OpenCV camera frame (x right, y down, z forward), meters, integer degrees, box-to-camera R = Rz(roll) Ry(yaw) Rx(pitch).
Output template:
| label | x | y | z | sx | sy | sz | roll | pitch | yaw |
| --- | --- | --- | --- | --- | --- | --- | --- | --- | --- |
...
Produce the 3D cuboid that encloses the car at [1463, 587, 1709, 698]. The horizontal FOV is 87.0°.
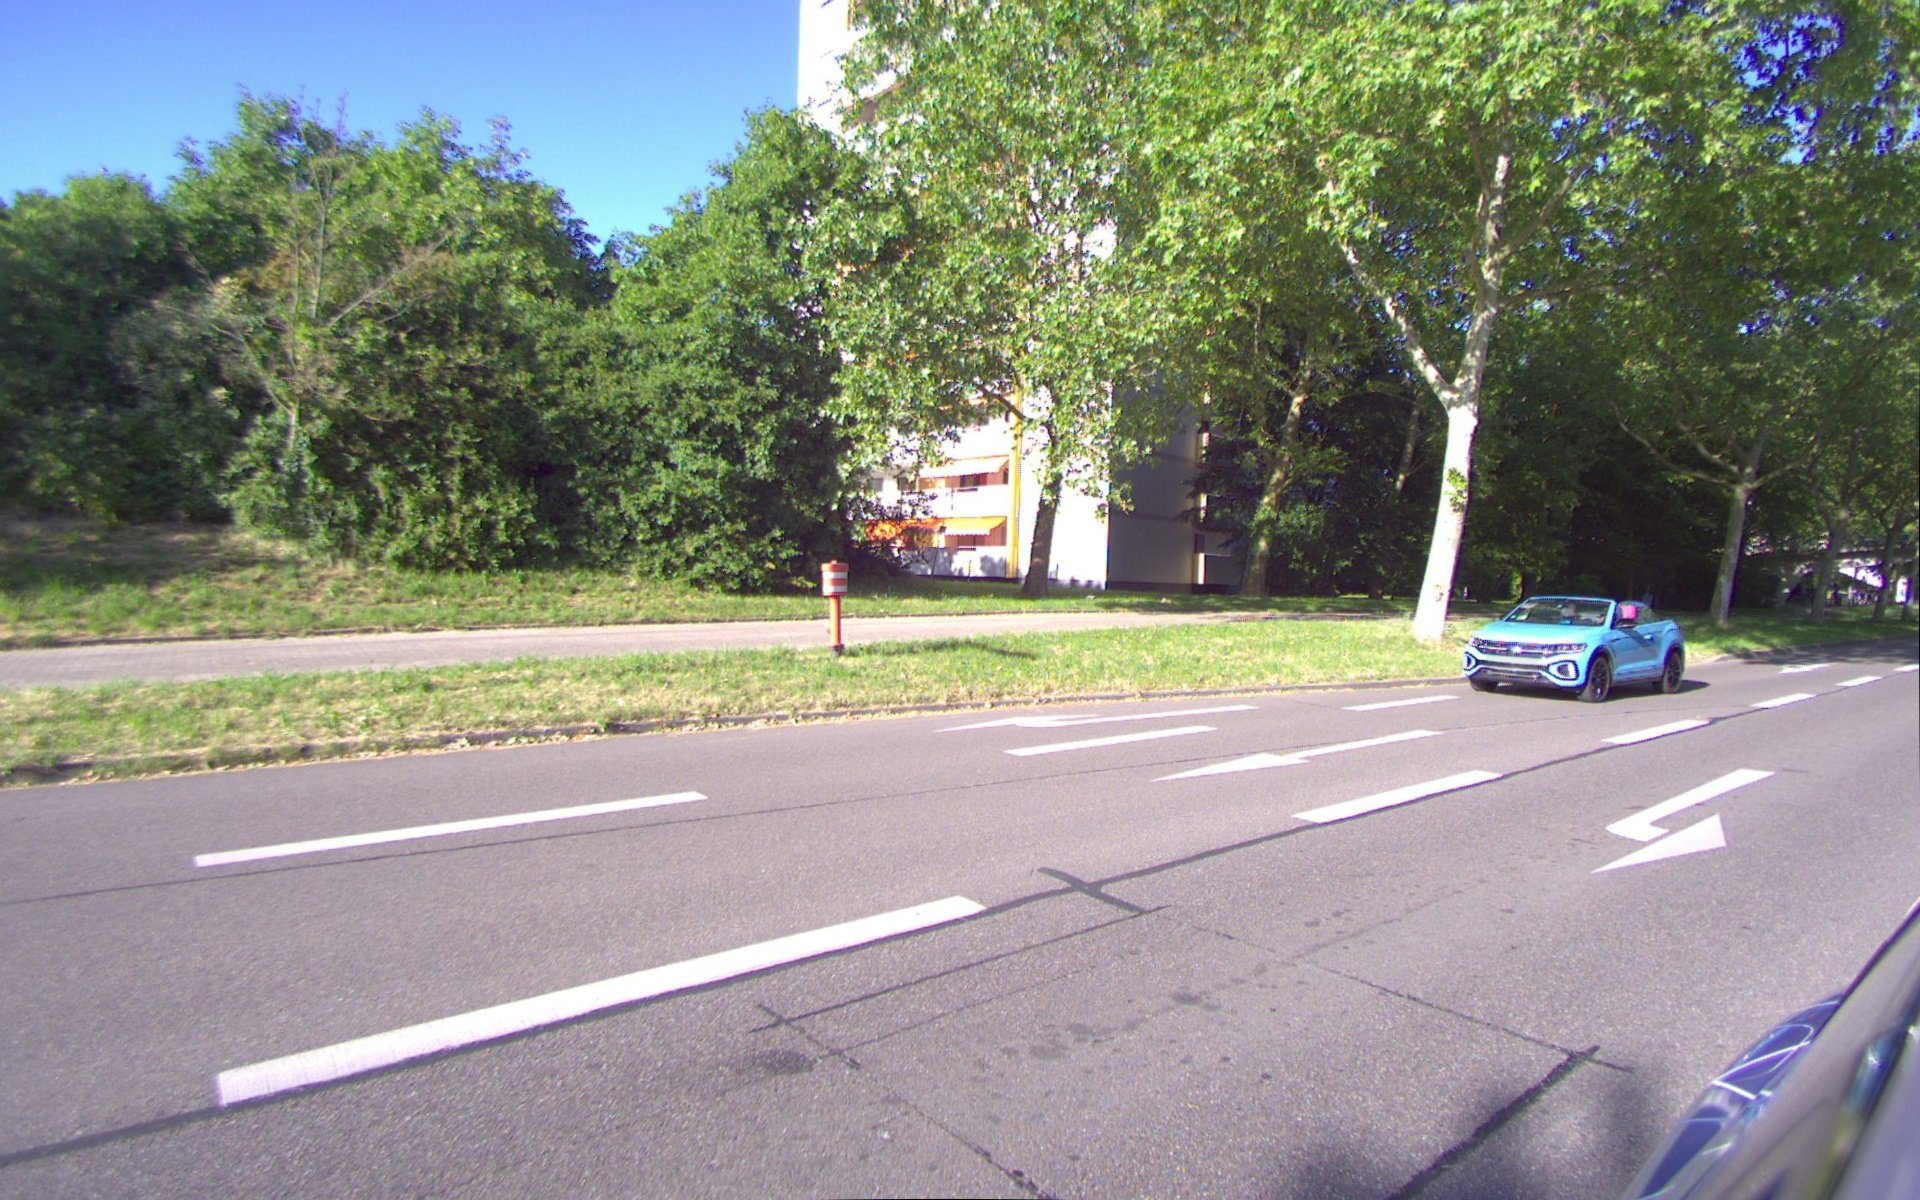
| label | x | y | z | sx | sy | sz | roll | pitch | yaw |
| --- | --- | --- | --- | --- | --- | --- | --- | --- | --- |
| car | 9.646 | 0.559 | 15.514 | 4.053 | 1.468 | 1.740 | 0 | 1 | -35 |
